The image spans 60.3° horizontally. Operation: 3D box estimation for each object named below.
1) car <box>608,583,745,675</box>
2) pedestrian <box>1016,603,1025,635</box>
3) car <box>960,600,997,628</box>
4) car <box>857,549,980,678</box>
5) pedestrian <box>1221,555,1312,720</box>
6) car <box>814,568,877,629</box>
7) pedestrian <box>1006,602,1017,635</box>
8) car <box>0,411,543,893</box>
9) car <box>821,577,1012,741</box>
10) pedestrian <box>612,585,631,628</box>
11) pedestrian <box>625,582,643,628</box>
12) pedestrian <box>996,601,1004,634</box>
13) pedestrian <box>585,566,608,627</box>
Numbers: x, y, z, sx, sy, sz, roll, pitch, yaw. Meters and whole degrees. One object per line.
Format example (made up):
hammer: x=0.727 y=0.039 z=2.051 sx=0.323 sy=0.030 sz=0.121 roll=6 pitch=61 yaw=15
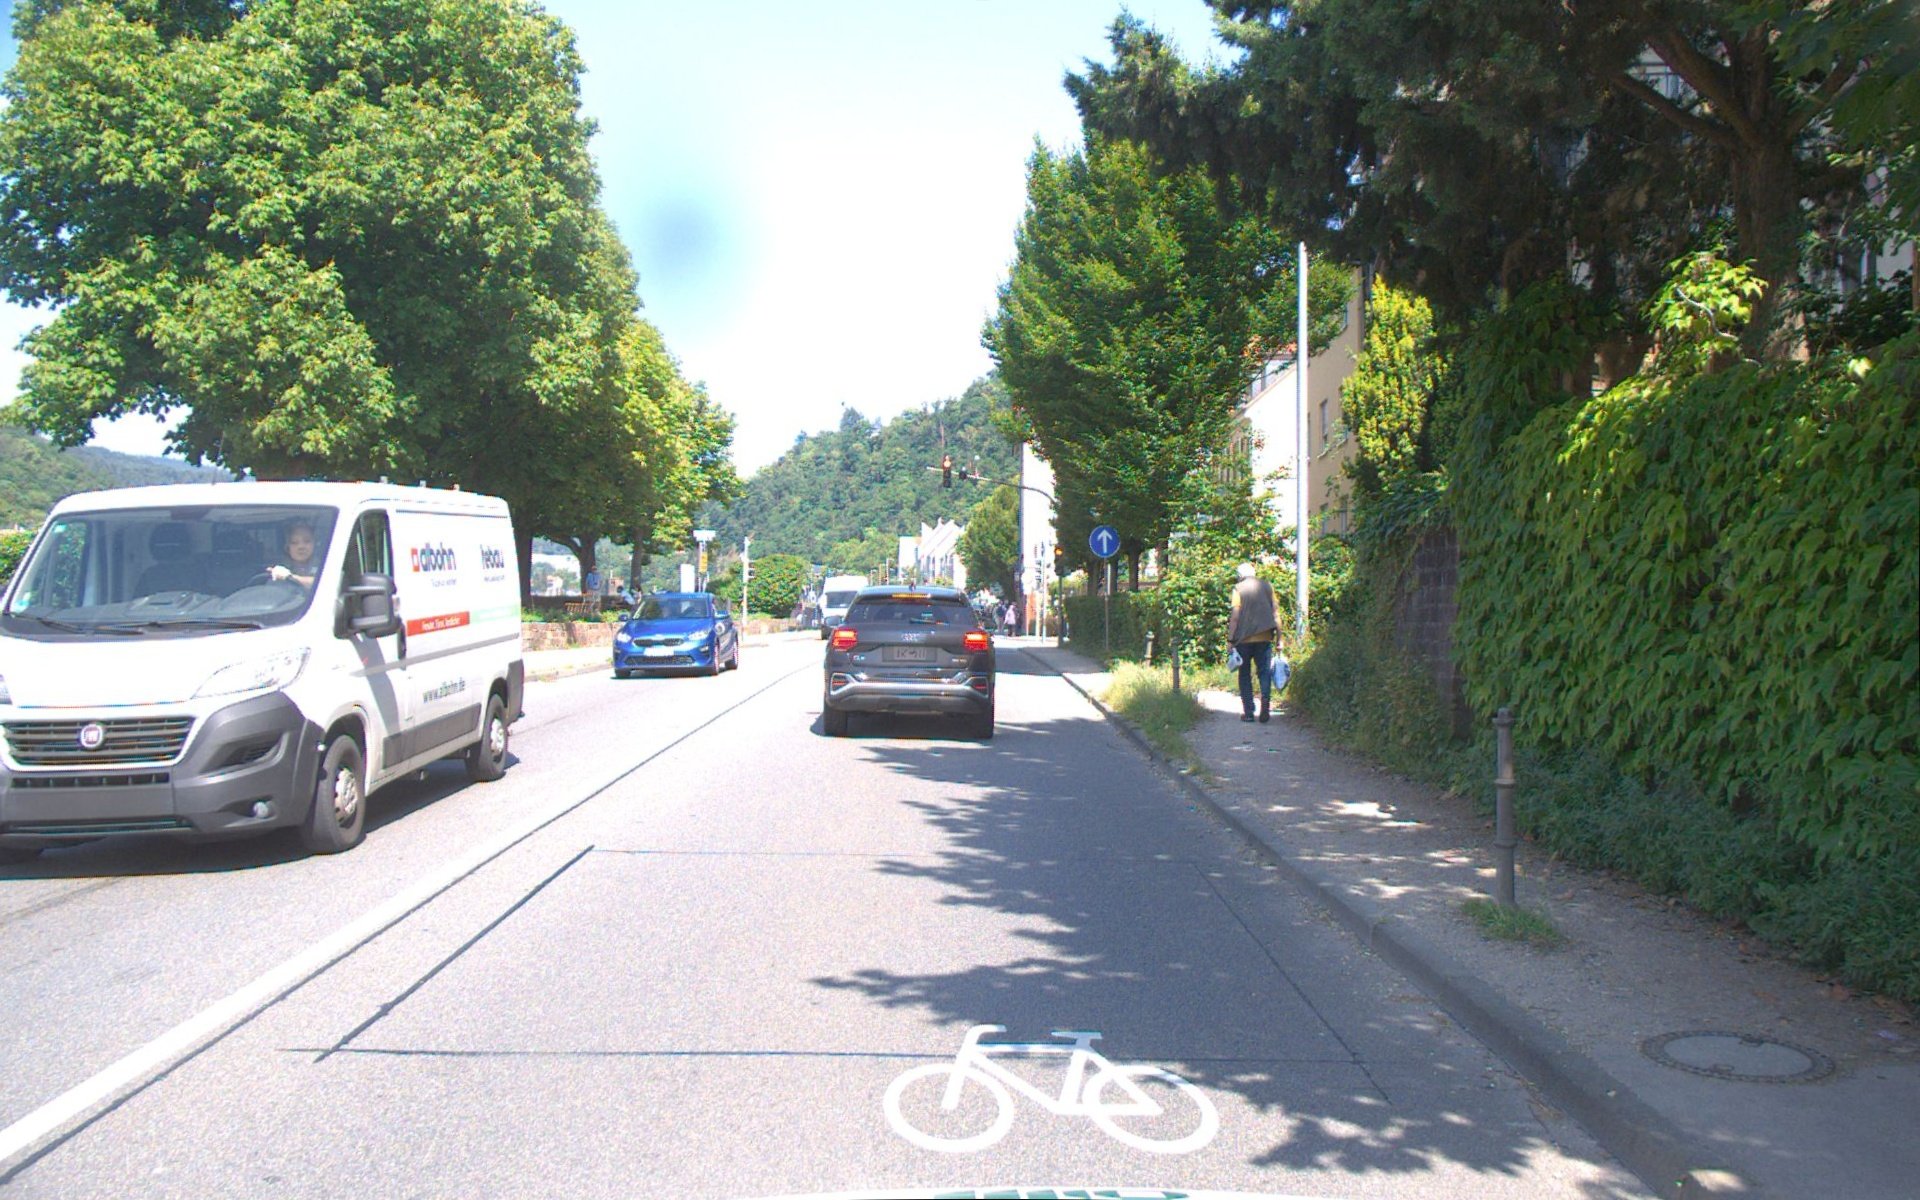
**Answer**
car: x=-5.005 y=0.520 z=29.629 sx=1.860 sy=1.515 sz=3.794 roll=-1 pitch=-1 yaw=-1
pedestrian: x=2.993 y=0.935 z=82.173 sx=0.405 sy=1.586 sz=0.395 roll=-1 pitch=-2 yaw=-1
car: x=0.989 y=0.820 z=92.768 sx=1.953 sy=1.478 sz=4.007 roll=-1 pitch=-1 yaw=-1
car: x=-0.682 y=0.210 z=28.740 sx=1.953 sy=2.049 sz=4.000 roll=-1 pitch=0 yaw=-1
pedestrian: x=3.257 y=0.391 z=17.649 sx=0.713 sy=1.678 sz=0.882 roll=-3 pitch=0 yaw=-1
car: x=-5.041 y=-0.010 z=73.591 sx=2.444 sy=2.510 sz=5.618 roll=-1 pitch=-1 yaw=-1
pedestrian: x=2.503 y=0.913 z=80.935 sx=0.479 sy=1.586 sz=0.461 roll=-1 pitch=-2 yaw=-1
car: x=-4.488 y=0.207 z=11.015 sx=2.054 sy=2.342 sz=5.867 roll=-1 pitch=1 yaw=-2
car: x=-0.457 y=0.546 z=18.012 sx=1.819 sy=1.550 sz=3.999 roll=1 pitch=1 yaw=-1
pedestrian: x=-12.572 y=0.243 z=61.382 sx=0.546 sy=1.586 sz=0.540 roll=-1 pitch=-2 yaw=3
pedestrian: x=-12.254 y=0.201 z=62.115 sx=0.546 sy=1.698 sz=0.540 roll=-1 pitch=-2 yaw=3
pedestrian: x=2.131 y=0.920 z=88.197 sx=0.405 sy=1.746 sz=0.403 roll=-1 pitch=-2 yaw=-1
pedestrian: x=-12.343 y=-0.120 z=56.184 sx=0.627 sy=2.049 sz=0.730 roll=-1 pitch=-2 yaw=-1
